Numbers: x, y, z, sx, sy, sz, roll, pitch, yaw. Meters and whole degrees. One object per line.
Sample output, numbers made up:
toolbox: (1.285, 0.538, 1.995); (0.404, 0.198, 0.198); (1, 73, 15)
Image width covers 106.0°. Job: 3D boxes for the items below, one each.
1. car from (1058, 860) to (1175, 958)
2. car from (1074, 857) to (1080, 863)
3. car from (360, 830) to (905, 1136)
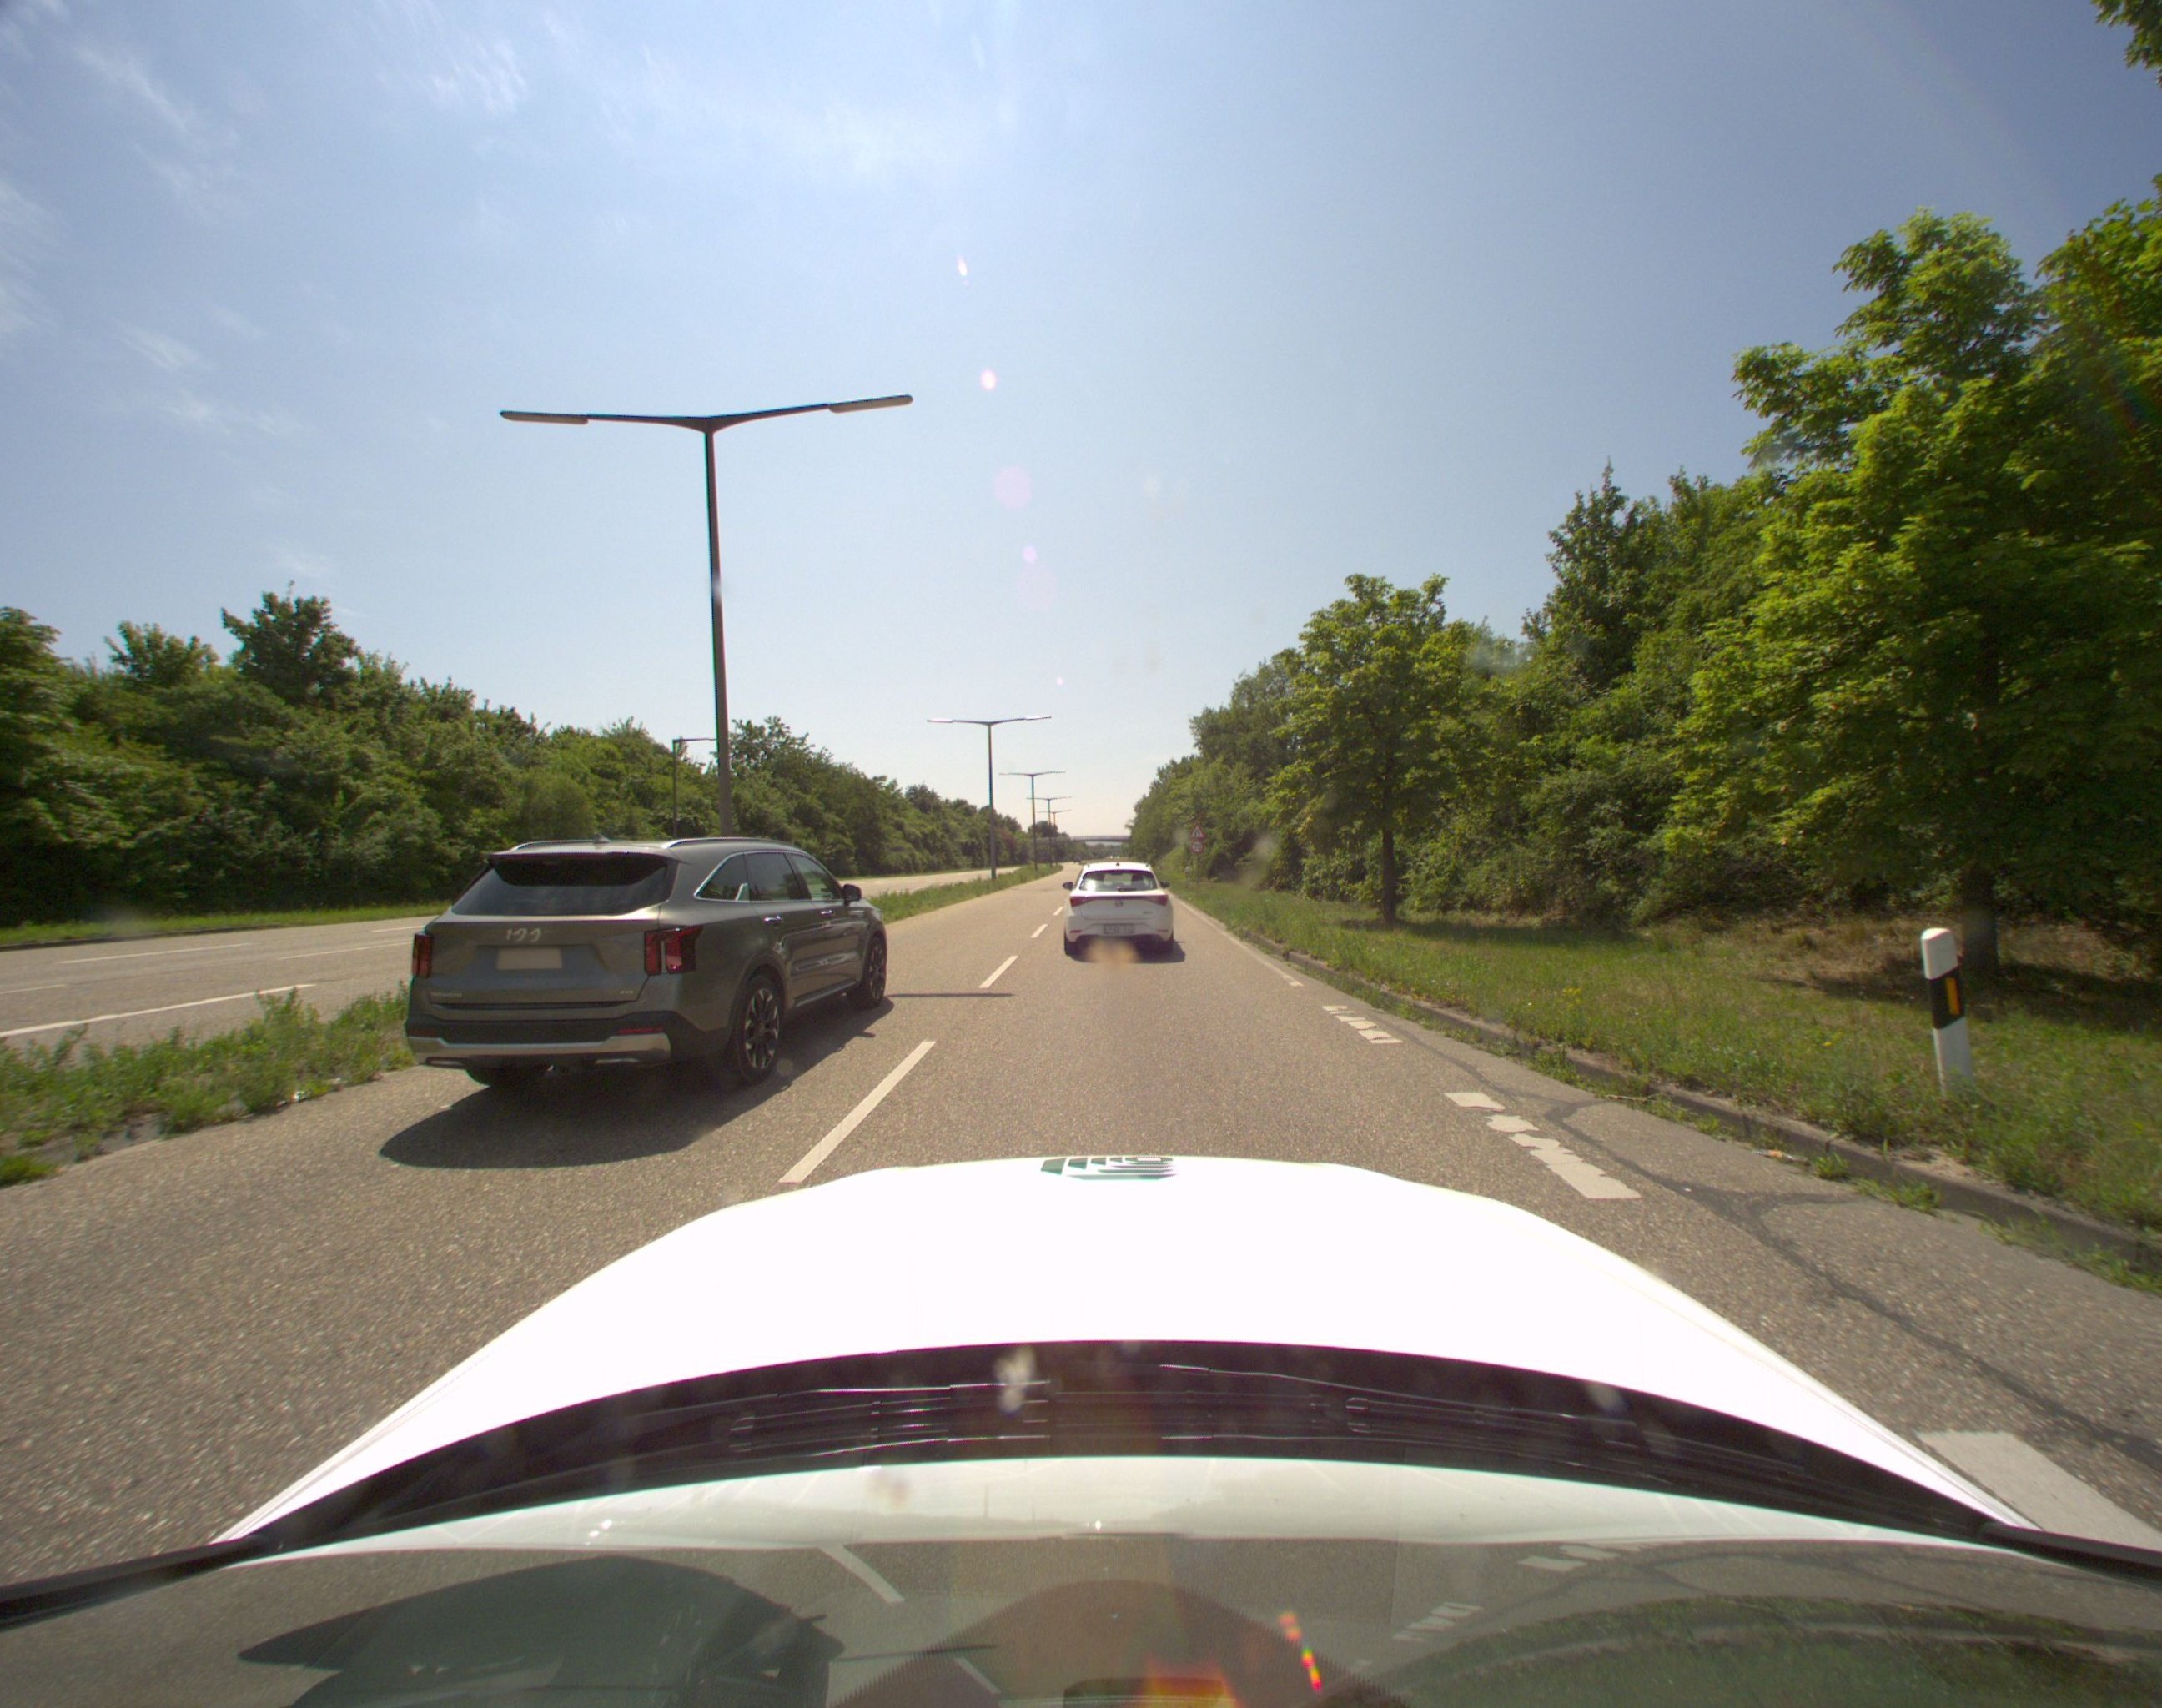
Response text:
car: (0.613, 0.832, 13.861); (1.727, 1.428, 3.697); (0, -1, 3)
car: (-1.295, 1.913, 245.895); (1.849, 1.709, 3.999); (0, -1, 0)
car: (-3.009, 0.730, 6.844); (1.796, 1.662, 4.647); (-1, 0, 3)
